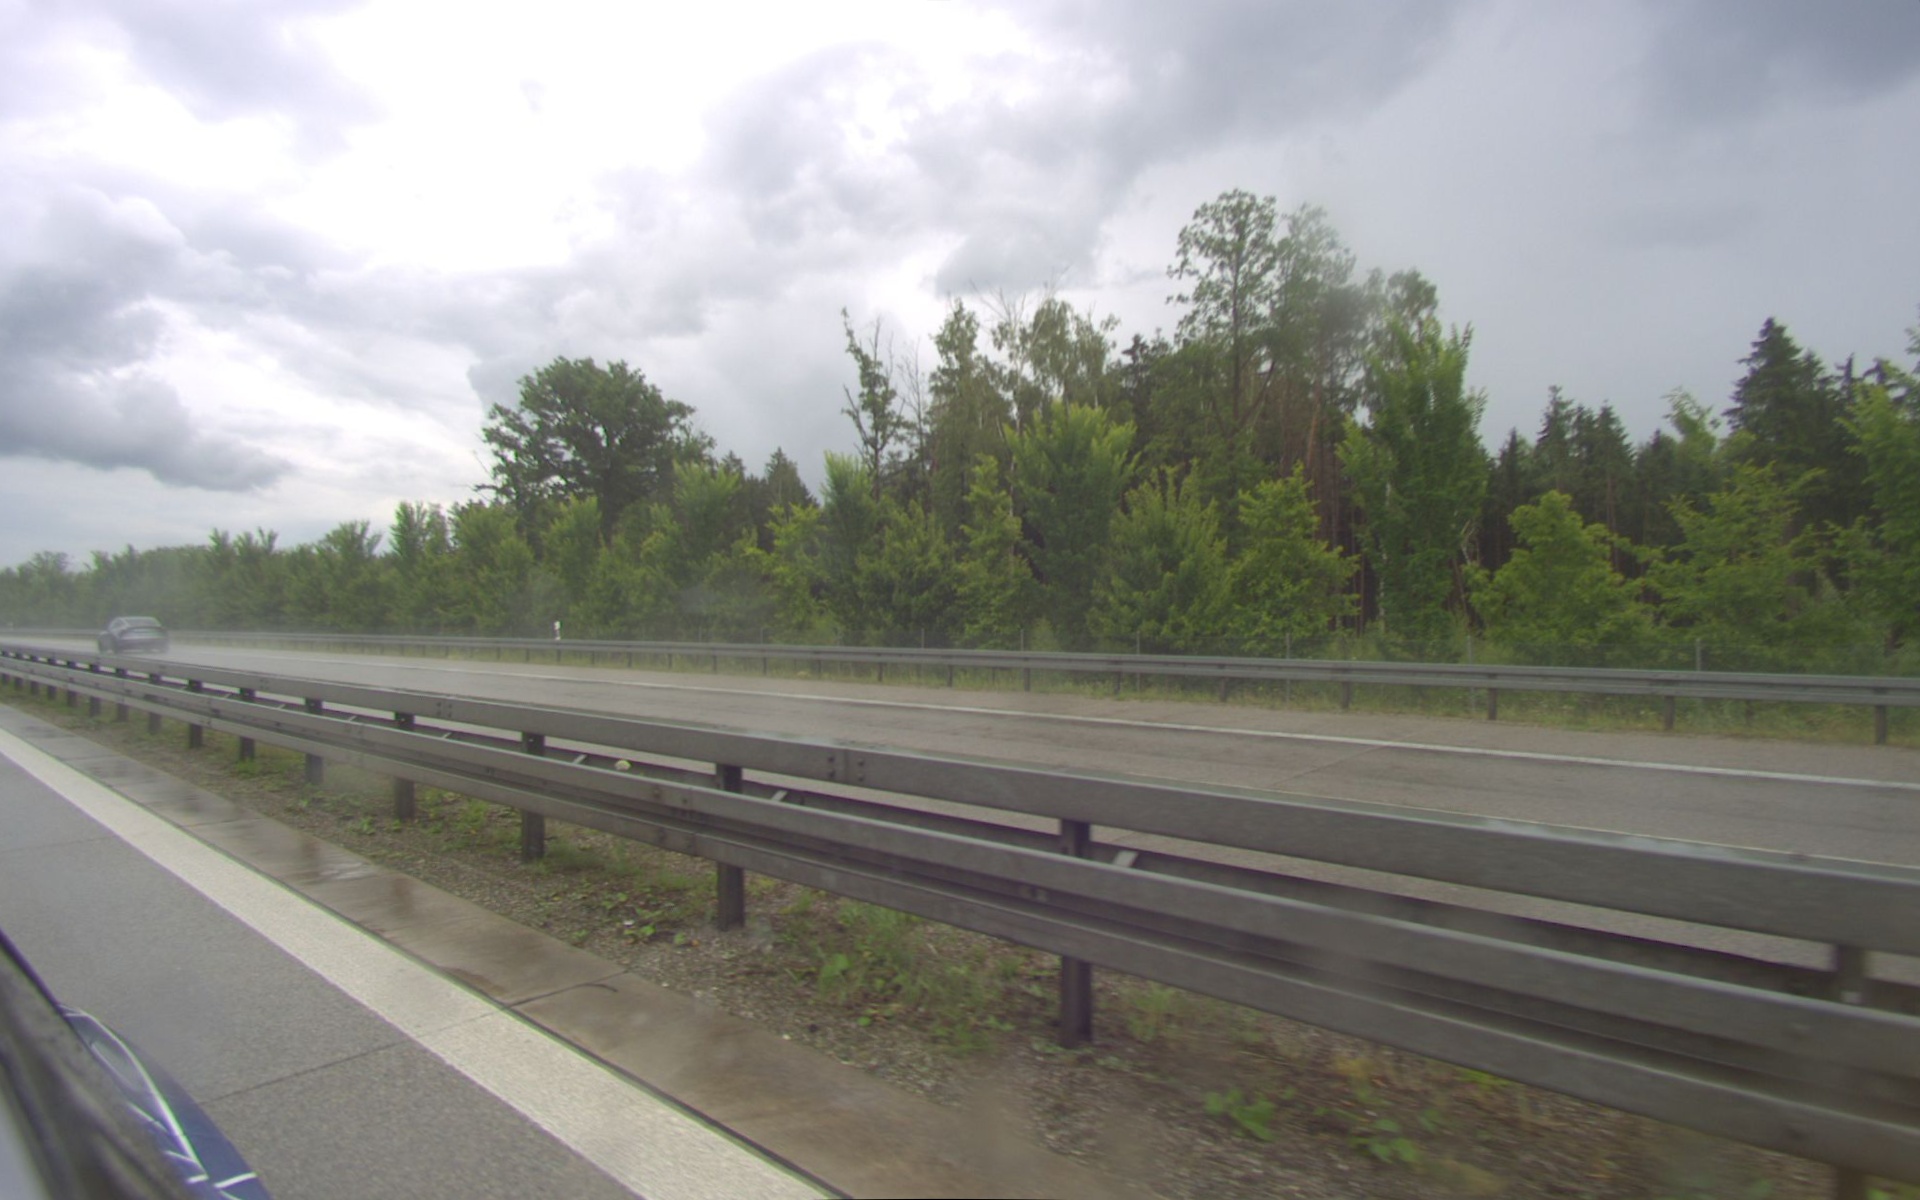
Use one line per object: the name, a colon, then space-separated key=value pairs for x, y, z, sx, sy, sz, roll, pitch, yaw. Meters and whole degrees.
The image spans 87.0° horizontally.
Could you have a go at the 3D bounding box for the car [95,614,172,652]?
car: x=-36.843 y=1.447 z=45.078 sx=3.997 sy=1.594 sz=1.973 roll=-1 pitch=-1 yaw=40
